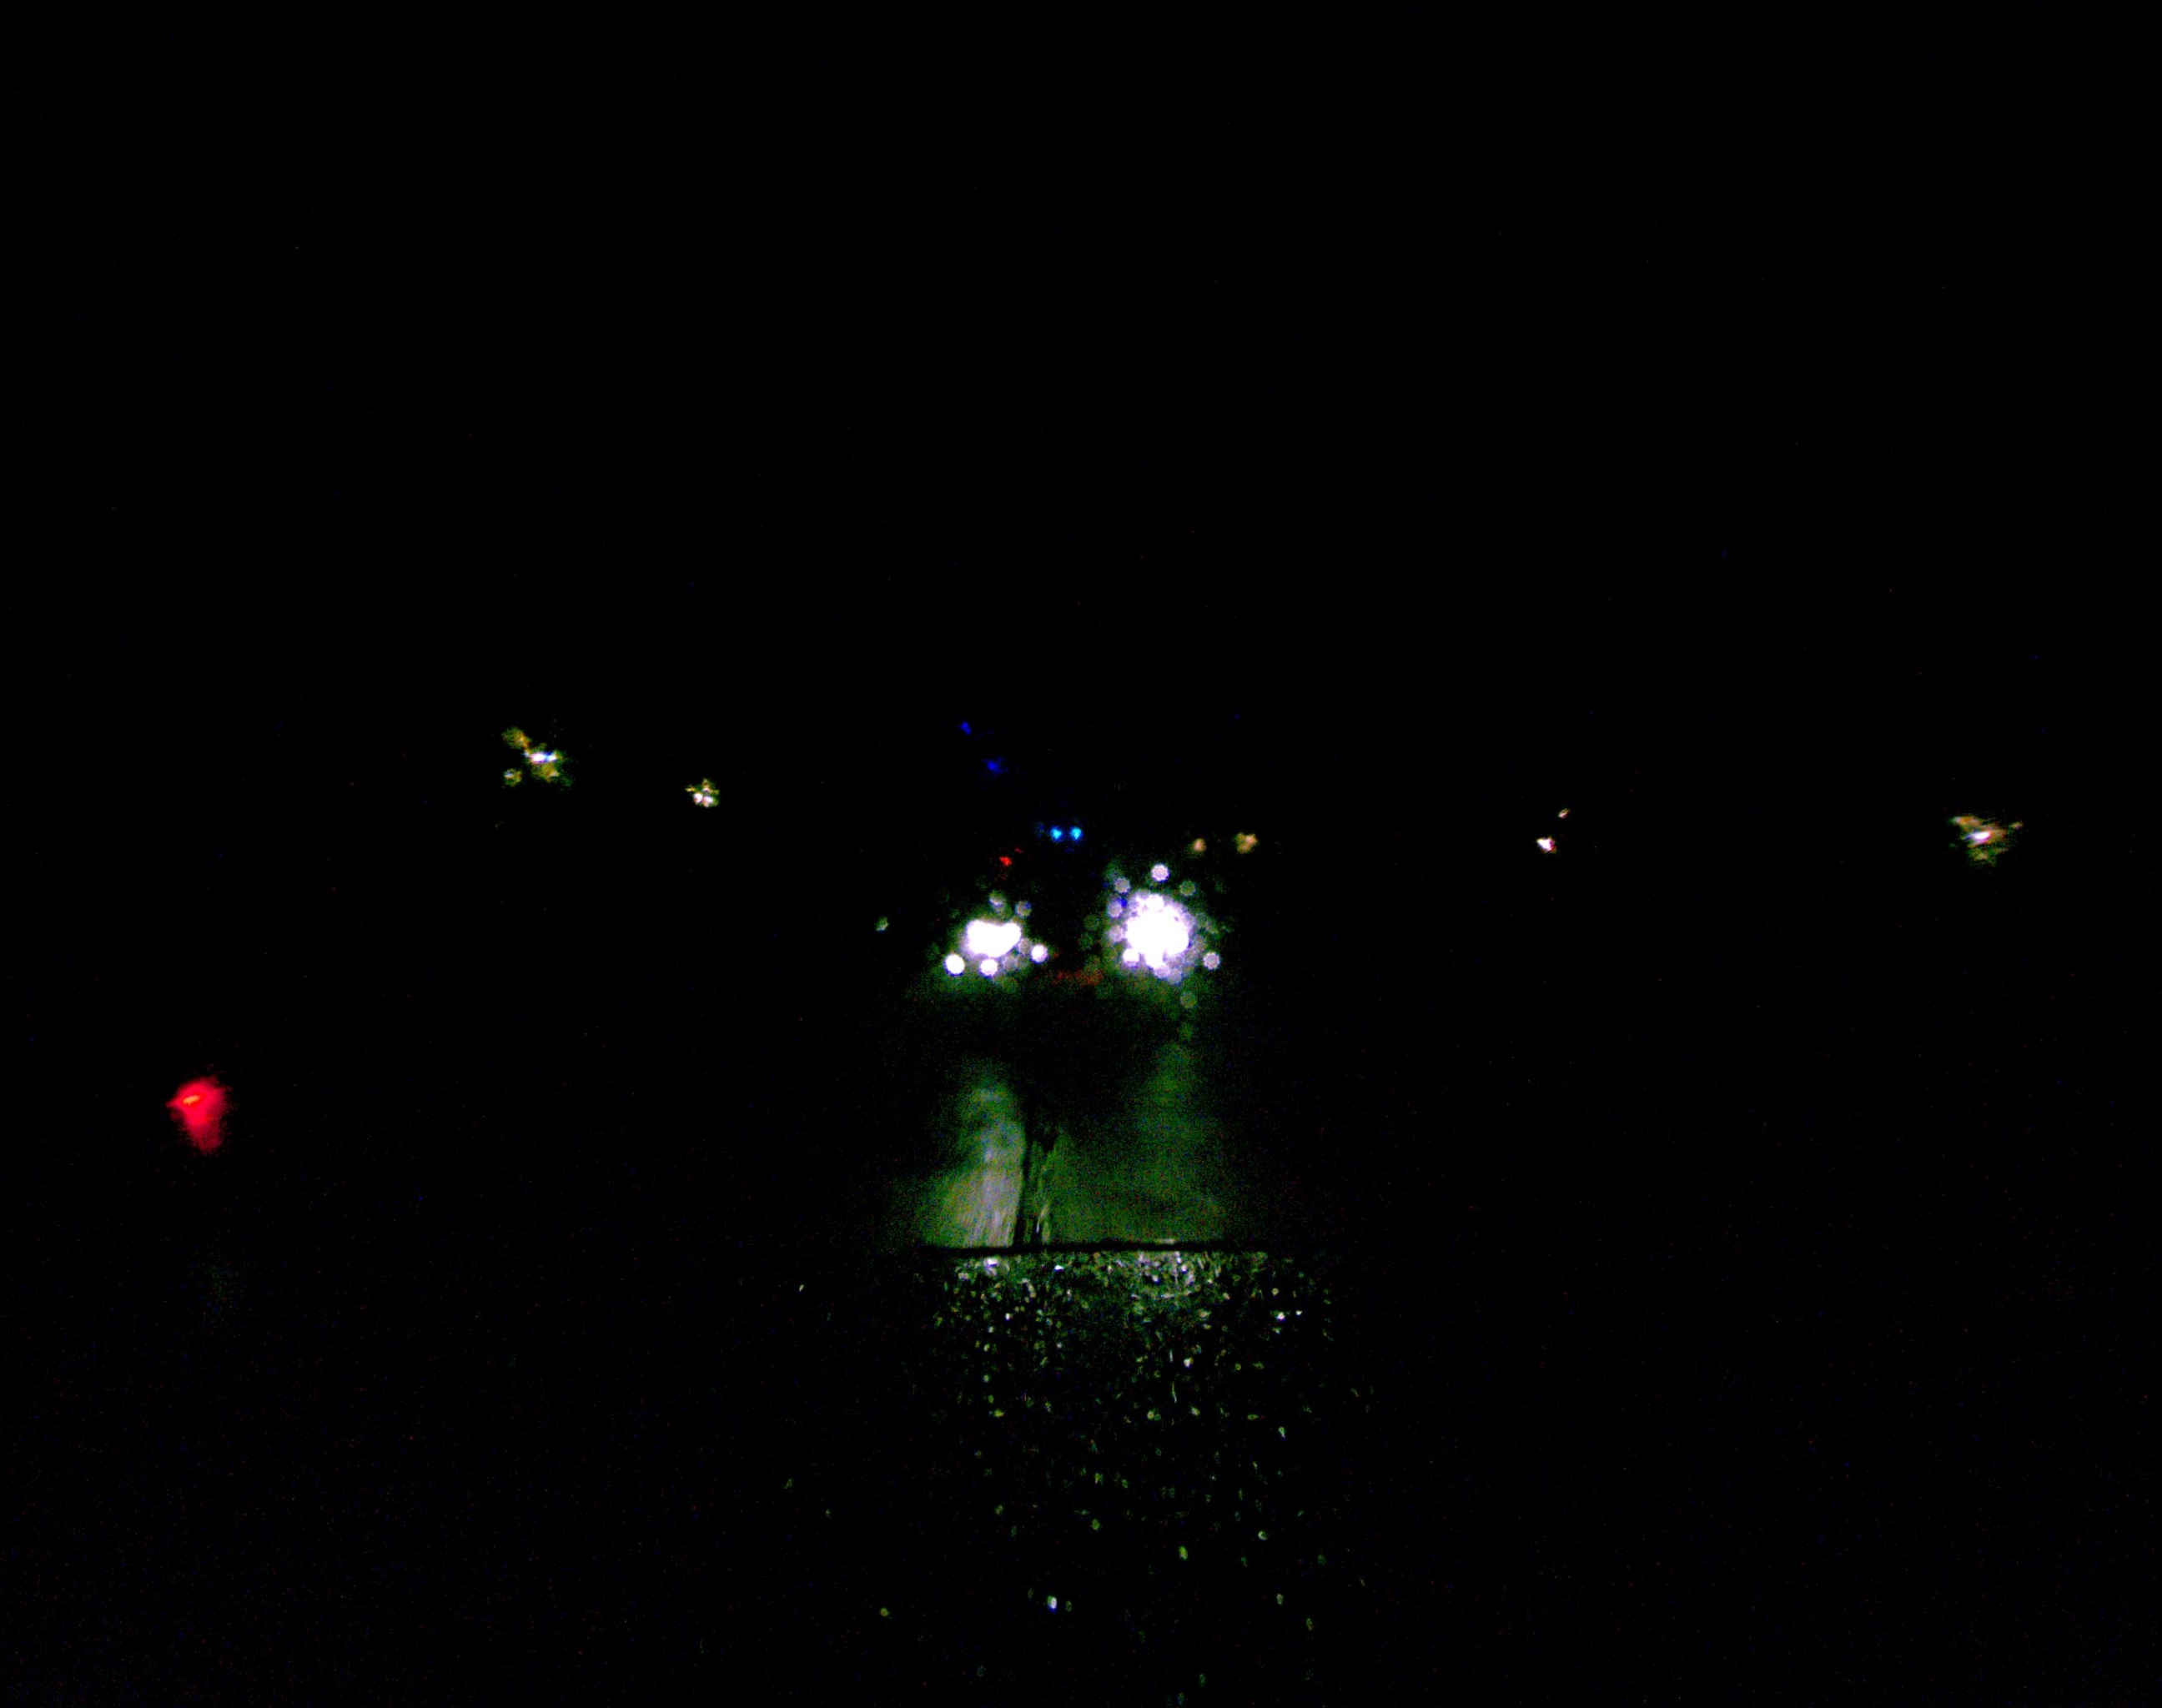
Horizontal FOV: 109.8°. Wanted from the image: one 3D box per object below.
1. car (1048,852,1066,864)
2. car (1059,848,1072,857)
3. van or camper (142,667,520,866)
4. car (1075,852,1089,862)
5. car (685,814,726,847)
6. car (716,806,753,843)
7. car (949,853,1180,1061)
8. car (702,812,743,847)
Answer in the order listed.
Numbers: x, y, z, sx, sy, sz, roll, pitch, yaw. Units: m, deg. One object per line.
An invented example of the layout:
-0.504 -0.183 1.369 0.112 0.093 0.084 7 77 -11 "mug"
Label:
-4.251 0.677 132.742 2.001 2.002 3.993 -3 1 -18 "car"
-3.434 -0.347 170.560 2.092 2.002 4.708 -2 1 -10 "car"
-12.752 -1.272 13.715 2.417 2.777 5.763 -3 1 -18 "van or camper"
0.081 0.554 133.315 1.893 1.559 4.483 -2 -1 -7 "car"
-24.982 -1.548 50.641 1.735 2.002 3.696 -3 1 -16 "car"
-27.819 -2.322 61.186 1.937 2.759 4.249 -3 1 -16 "car"
-0.106 0.851 8.414 1.826 1.573 4.353 -3 1 1 "car"
-26.368 -1.768 55.966 1.937 2.406 4.249 -3 1 -16 "car"
